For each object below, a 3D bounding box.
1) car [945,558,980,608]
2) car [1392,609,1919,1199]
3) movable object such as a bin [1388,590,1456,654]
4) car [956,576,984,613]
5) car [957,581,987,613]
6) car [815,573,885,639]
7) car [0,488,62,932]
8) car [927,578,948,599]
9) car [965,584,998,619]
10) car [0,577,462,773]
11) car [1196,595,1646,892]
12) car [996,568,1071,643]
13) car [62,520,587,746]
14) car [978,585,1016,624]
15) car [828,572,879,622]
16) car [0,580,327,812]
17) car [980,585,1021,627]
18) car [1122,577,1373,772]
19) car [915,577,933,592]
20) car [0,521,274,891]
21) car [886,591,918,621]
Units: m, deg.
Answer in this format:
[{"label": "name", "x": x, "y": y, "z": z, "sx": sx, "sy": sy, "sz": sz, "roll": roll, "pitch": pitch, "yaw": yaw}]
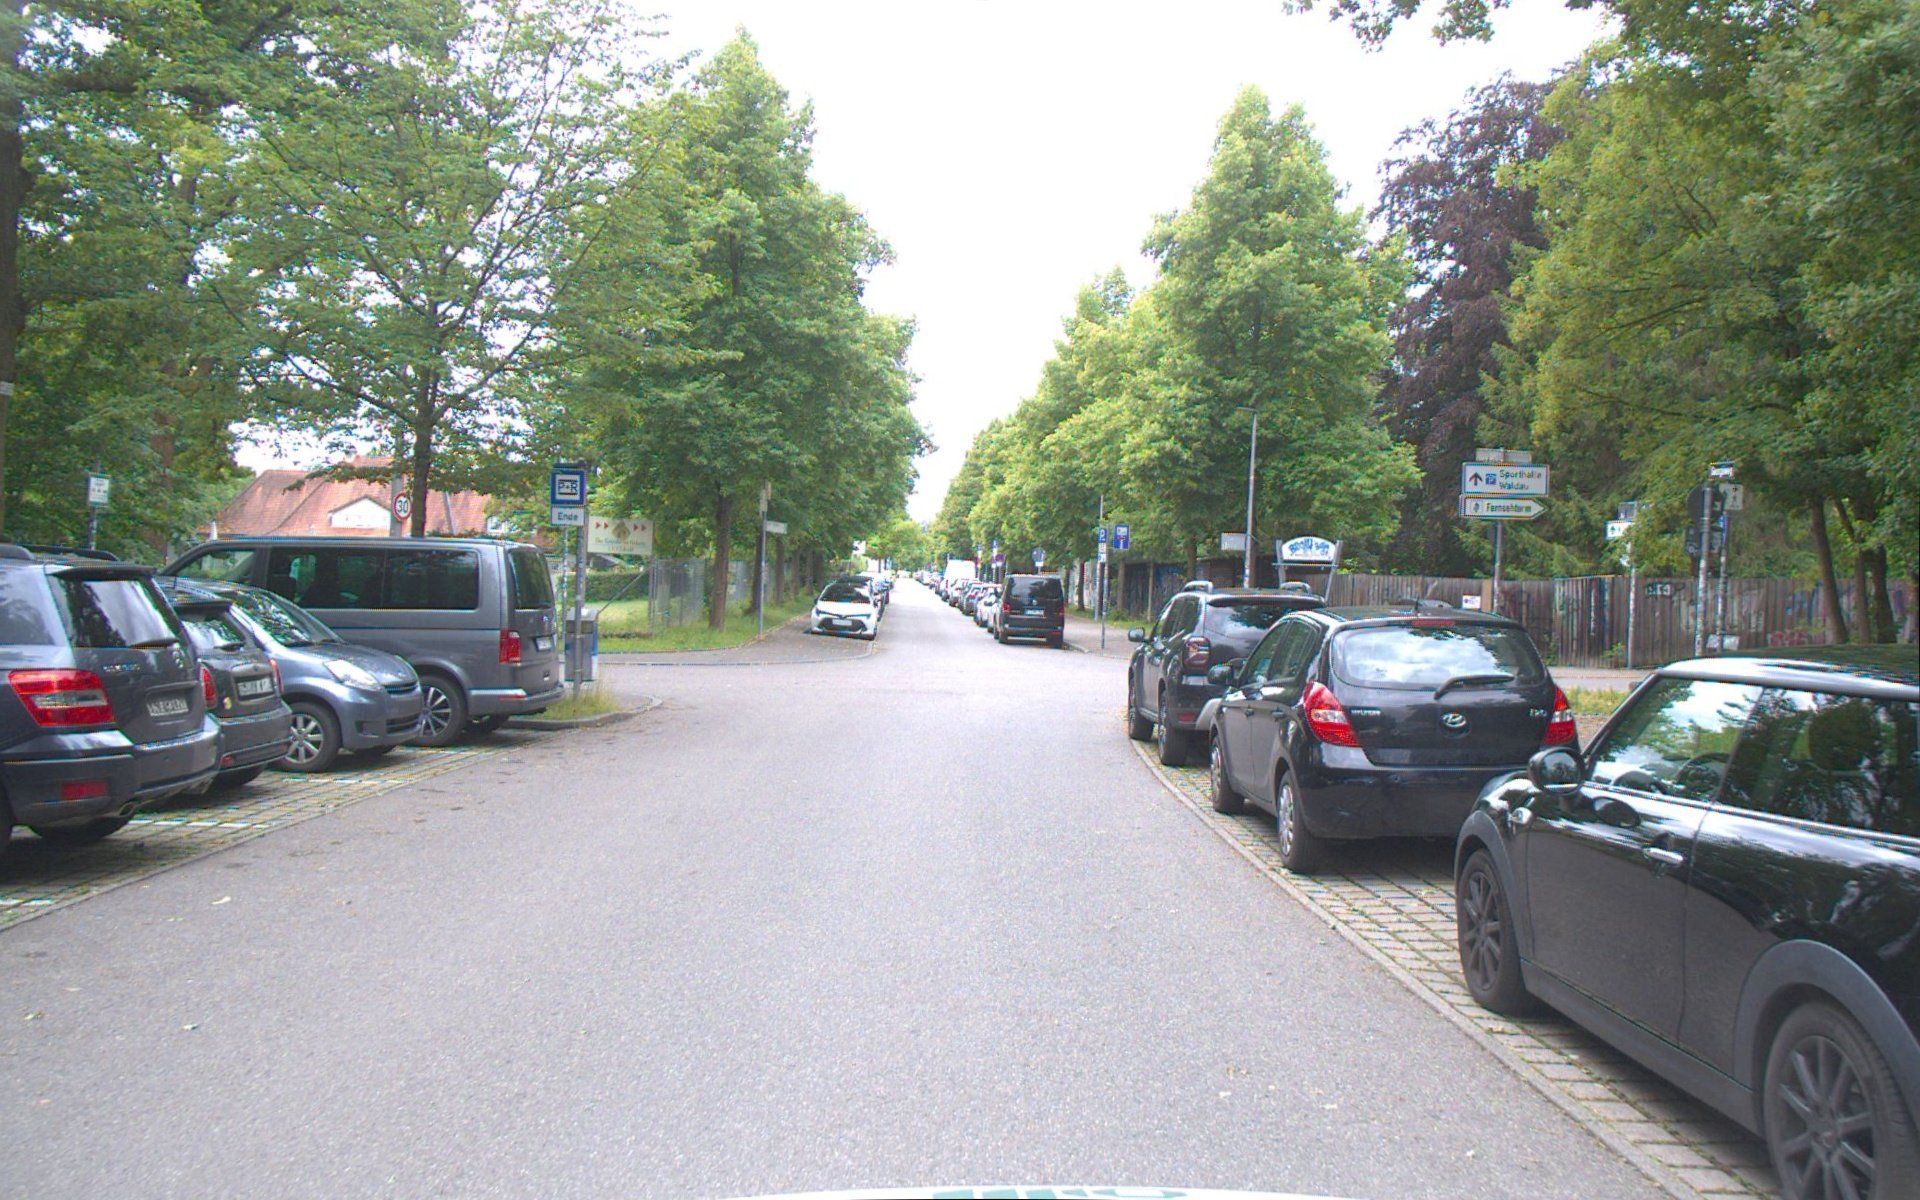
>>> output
[{"label": "car", "x": 0.122, "y": -1.070, "z": 106.184, "sx": 2.140, "sy": 3.068, "sz": 4.896, "roll": 1, "pitch": 0, "yaw": -1}, {"label": "car", "x": 2.912, "y": 0.793, "z": 5.544, "sx": 1.701, "sy": 1.457, "sz": 4.501, "roll": 1, "pitch": 0, "yaw": -1}, {"label": "movable object such as a bin", "x": 10.924, "y": 0.526, "z": 39.113, "sx": 1.061, "sy": 1.468, "sz": 1.277, "roll": 0, "pitch": -1, "yaw": 44}, {"label": "car", "x": 0.546, "y": -0.311, "z": 92.517, "sx": 1.439, "sy": 2.002, "sz": 3.188, "roll": 1, "pitch": 0, "yaw": -1}, {"label": "car", "x": 0.575, "y": -0.164, "z": 82.406, "sx": 1.439, "sy": 1.558, "sz": 3.188, "roll": 1, "pitch": 0, "yaw": -1}, {"label": "car", "x": -3.029, "y": 0.139, "z": 45.389, "sx": 1.730, "sy": 1.623, "sz": 4.213, "roll": 4, "pitch": 0, "yaw": -4}, {"label": "car", "x": -6.012, "y": 0.412, "z": 6.489, "sx": 3.907, "sy": 1.895, "sz": 1.813, "roll": 2, "pitch": 0, "yaw": -2}, {"label": "car", "x": -2.258, "y": -1.141, "z": 166.281, "sx": 1.952, "sy": 2.049, "sz": 4.001, "roll": 1, "pitch": -1, "yaw": 2}, {"label": "car", "x": 0.980, "y": 0.044, "z": 76.662, "sx": 1.439, "sy": 1.558, "sz": 3.188, "roll": 1, "pitch": 0, "yaw": -1}, {"label": "car", "x": -6.421, "y": 0.589, "z": 14.158, "sx": 3.736, "sy": 1.539, "sz": 1.809, "roll": 1, "pitch": 1, "yaw": 1}, {"label": "car", "x": 2.721, "y": 0.750, "z": 10.788, "sx": 1.701, "sy": 1.521, "sz": 4.233, "roll": 1, "pitch": 0, "yaw": -1}, {"label": "car", "x": 2.097, "y": 0.134, "z": 48.330, "sx": 1.947, "sy": 2.049, "sz": 4.108, "roll": 1, "pitch": 0, "yaw": -1}, {"label": "car", "x": -6.117, "y": 0.324, "z": 16.365, "sx": 4.413, "sy": 2.013, "sz": 1.890, "roll": 1, "pitch": -1, "yaw": -3}, {"label": "car", "x": 1.512, "y": 0.167, "z": 67.787, "sx": 1.439, "sy": 1.558, "sz": 3.188, "roll": 1, "pitch": 0, "yaw": -1}, {"label": "car", "x": -3.807, "y": -0.126, "z": 59.131, "sx": 1.658, "sy": 1.623, "sz": 3.997, "roll": 4, "pitch": 0, "yaw": -4}, {"label": "car", "x": -6.774, "y": 0.597, "z": 11.666, "sx": 3.906, "sy": 1.455, "sz": 1.720, "roll": 2, "pitch": 0, "yaw": -1}, {"label": "car", "x": 1.516, "y": 0.216, "z": 62.641, "sx": 1.439, "sy": 1.507, "sz": 3.188, "roll": 1, "pitch": 0, "yaw": -1}, {"label": "car", "x": 2.718, "y": 0.648, "z": 16.593, "sx": 1.701, "sy": 1.662, "sz": 4.375, "roll": 1, "pitch": 0, "yaw": -1}, {"label": "car", "x": -4.346, "y": -1.858, "z": 199.760, "sx": 1.859, "sy": 1.736, "sz": 4.064, "roll": 1, "pitch": -1, "yaw": 2}, {"label": "car", "x": -6.061, "y": 0.463, "z": 8.924, "sx": 3.908, "sy": 1.796, "sz": 1.823, "roll": 2, "pitch": 0, "yaw": -4}, {"label": "car", "x": -3.148, "y": 0.323, "z": 89.612, "sx": 1.562, "sy": 1.586, "sz": 3.190, "roll": 0, "pitch": 1, "yaw": -5}]
